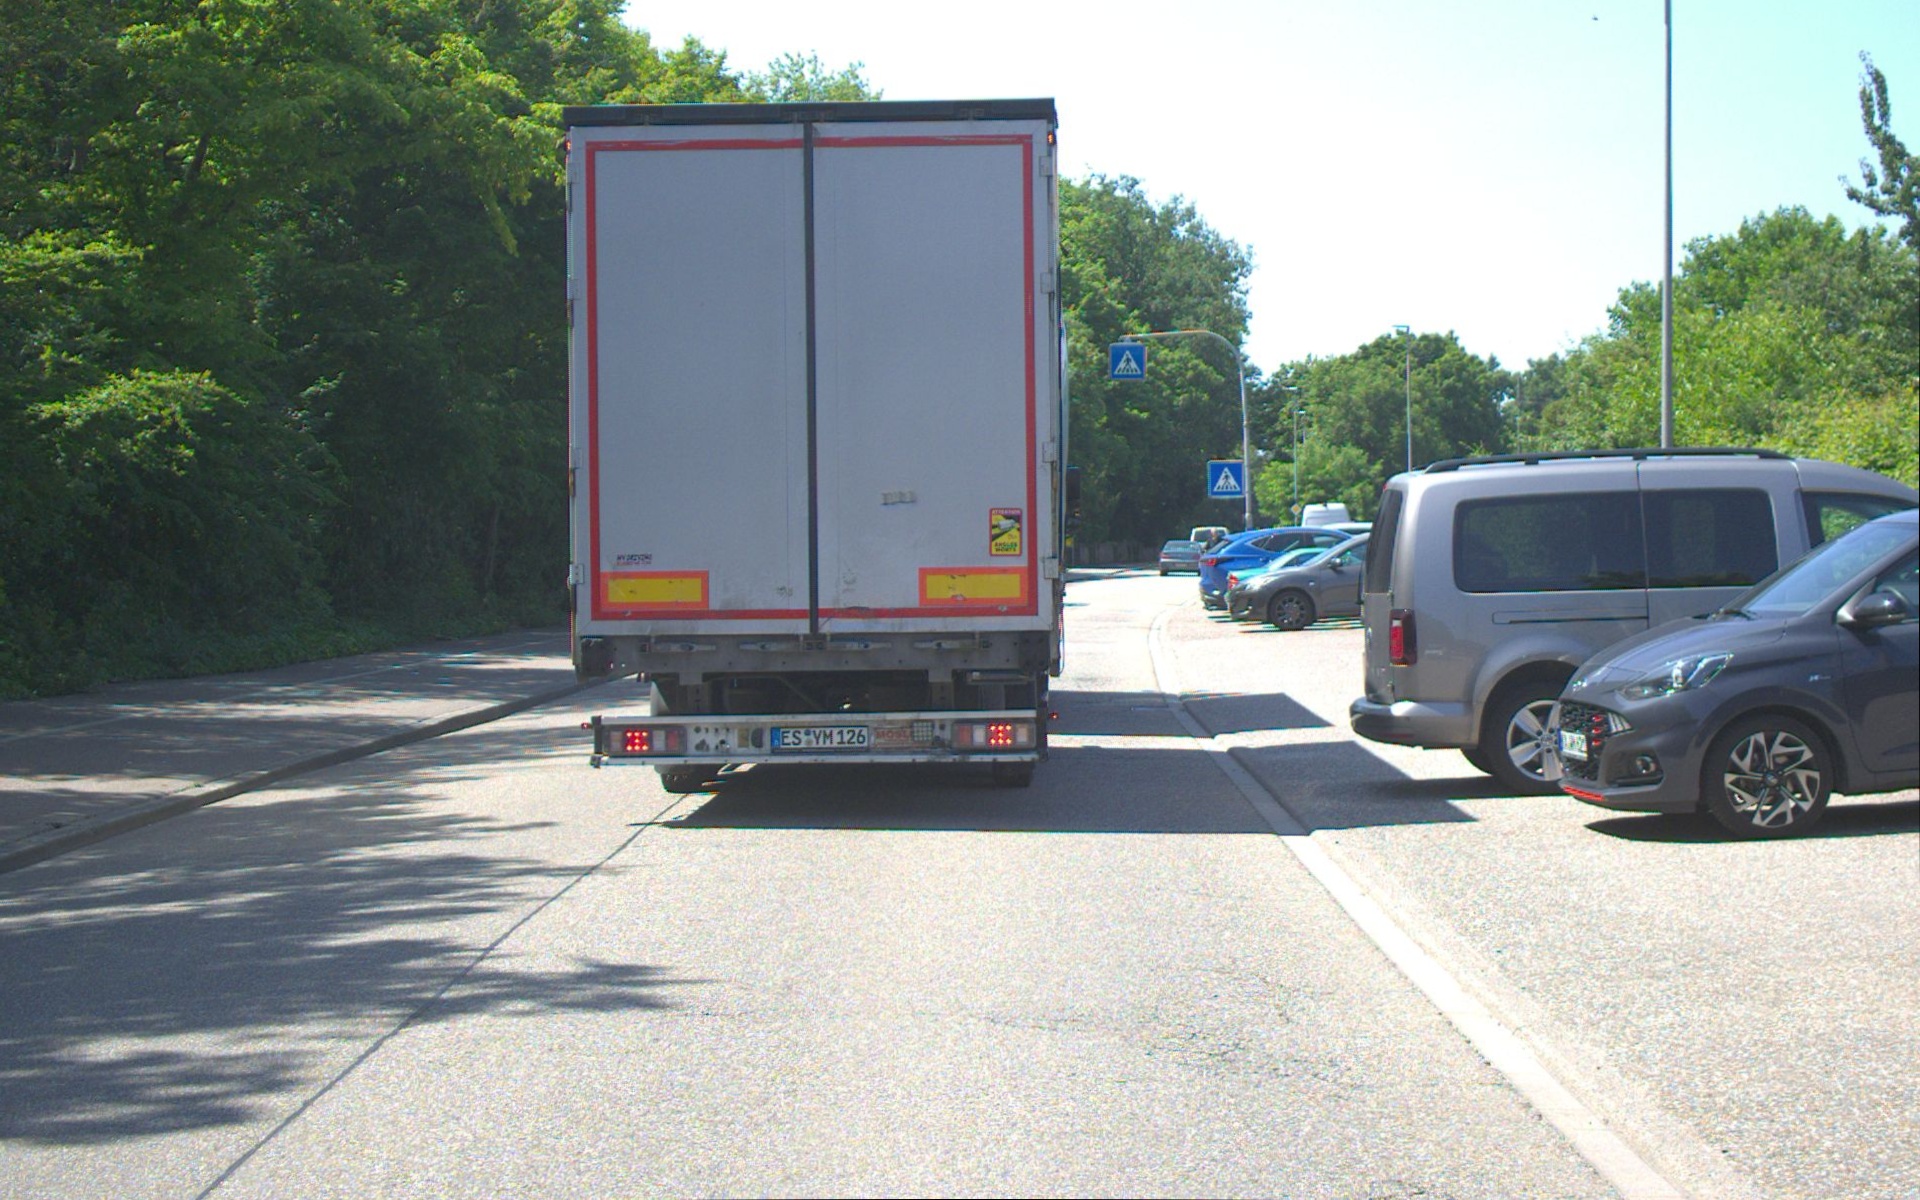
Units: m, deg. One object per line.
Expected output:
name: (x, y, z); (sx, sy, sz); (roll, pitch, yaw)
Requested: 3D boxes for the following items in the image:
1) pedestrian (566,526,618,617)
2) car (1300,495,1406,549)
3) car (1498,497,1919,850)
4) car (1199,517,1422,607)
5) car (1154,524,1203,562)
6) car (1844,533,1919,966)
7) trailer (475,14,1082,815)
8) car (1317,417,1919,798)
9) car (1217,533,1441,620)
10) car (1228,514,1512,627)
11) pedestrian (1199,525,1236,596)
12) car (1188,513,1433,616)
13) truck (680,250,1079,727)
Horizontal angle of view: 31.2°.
pedestrian: (-6.636, -0.517, 62.011); (0.828, 1.617, 0.783); (1, 1, 2)
car: (15.148, -2.997, 132.443); (3.957, 1.792, 1.813); (-3, -2, 7)
car: (4.591, 0.265, 16.510); (3.575, 1.497, 1.842); (-3, 1, -4)
car: (6.911, -0.732, 68.130); (4.236, 1.648, 1.899); (-1, -1, 2)
car: (8.578, -2.249, 135.301); (1.781, 1.481, 4.000); (0, 1, 2)
car: (5.155, 0.347, 10.768); (4.203, 1.383, 1.841); (-4, 1, 0)
trailer: (-0.763, -1.050, 23.367); (3.113, 4.088, 11.536); (0, 1, 2)
car: (4.497, -0.039, 19.654); (4.621, 1.842, 1.996); (-4, 1, 2)
car: (6.345, -0.407, 59.336); (3.735, 1.264, 1.627); (-3, 0, 5)
car: (6.298, -0.453, 53.155); (4.164, 1.490, 1.882); (-3, 0, 3)
pedestrian: (6.872, -1.060, 91.655); (0.822, 1.828, 0.792); (-4, 0, 9)
car: (6.307, -0.654, 62.161); (4.238, 1.628, 1.823); (-3, 1, 3)
truck: (-0.526, -0.940, 30.019); (3.114, 3.712, 6.413); (0, 1, 2)
